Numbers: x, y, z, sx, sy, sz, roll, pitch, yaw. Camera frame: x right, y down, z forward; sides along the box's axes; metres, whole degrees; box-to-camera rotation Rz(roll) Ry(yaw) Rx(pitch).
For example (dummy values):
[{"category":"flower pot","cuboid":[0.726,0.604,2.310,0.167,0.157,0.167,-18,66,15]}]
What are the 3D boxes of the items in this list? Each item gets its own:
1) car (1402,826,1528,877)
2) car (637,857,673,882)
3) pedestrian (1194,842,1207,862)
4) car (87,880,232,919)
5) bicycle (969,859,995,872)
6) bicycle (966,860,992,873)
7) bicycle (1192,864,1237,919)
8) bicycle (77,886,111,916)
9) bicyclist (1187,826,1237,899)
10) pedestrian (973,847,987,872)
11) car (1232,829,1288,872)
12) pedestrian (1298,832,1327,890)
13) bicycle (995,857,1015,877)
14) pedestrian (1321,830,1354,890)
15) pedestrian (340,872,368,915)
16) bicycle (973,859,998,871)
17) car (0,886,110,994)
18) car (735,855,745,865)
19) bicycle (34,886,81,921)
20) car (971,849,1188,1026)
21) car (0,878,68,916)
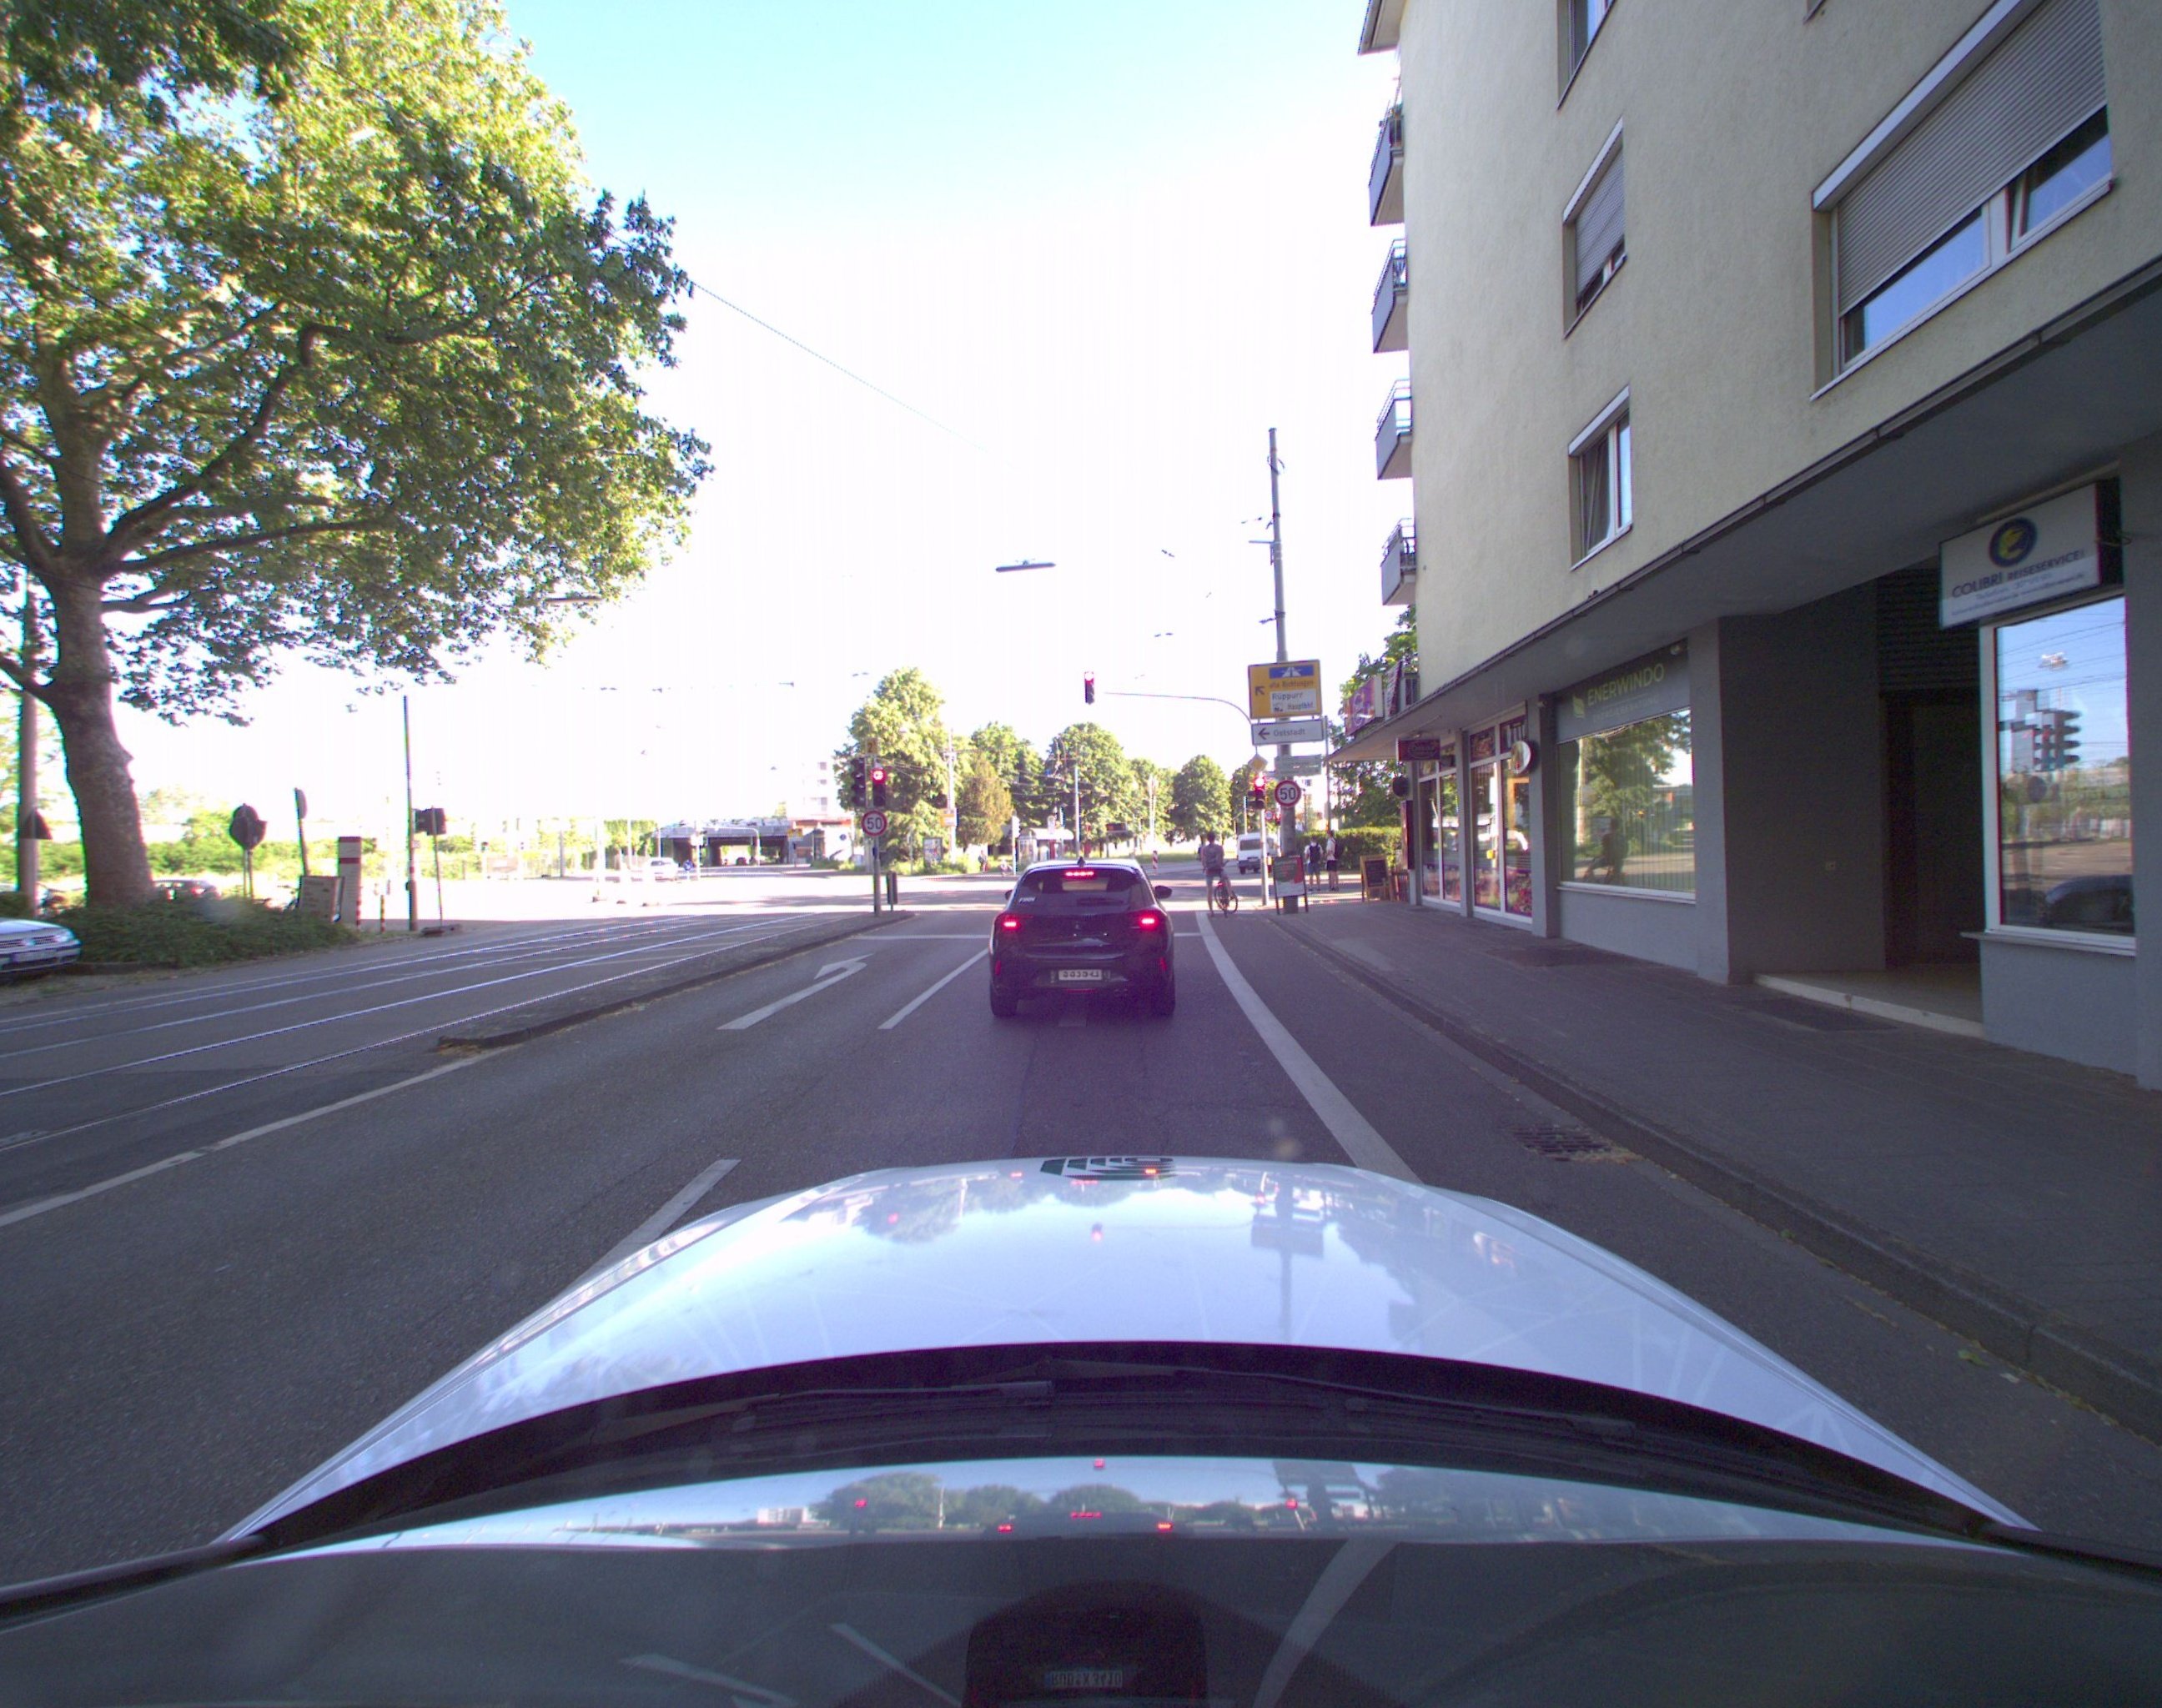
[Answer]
[{"category":"car","cuboid":[15.090,-0.063,32.222,4.150,1.814,1.811,-2,-3,10]},{"category":"car","cuboid":[-29.605,1.035,56.500,2.006,1.631,4.586,-2,1,-30]},{"category":"pedestrian","cuboid":[11.346,-0.183,77.408,0.949,1.793,1.002,-2,0,27]},{"category":"car","cuboid":[-43.229,2.097,38.326,4.006,1.419,1.880,-1,6,-25]},{"category":"bicycle","cuboid":[-7.928,0.923,65.179,1.866,0.906,0.661,-2,0,8]},{"category":"bicycle","cuboid":[-8.054,0.976,64.196,1.866,0.906,0.661,-2,0,8]},{"category":"bicycle","cuboid":[2.893,0.784,17.803,0.665,1.059,2.083,-2,0,2]},{"category":"bicycle","cuboid":[-26.394,1.239,21.771,1.757,0.759,0.360,-1,0,32]},{"category":"bicyclist","cuboid":[2.841,0.183,17.805,0.837,1.510,1.368,-2,0,0]},{"category":"pedestrian","cuboid":[-6.836,0.374,55.098,0.703,1.693,0.721,-2,0,-30]},{"category":"car","cuboid":[10.139,-0.176,45.943,2.070,2.277,4.331,-1,-1,26]},{"category":"pedestrian","cuboid":[7.242,0.216,25.462,0.696,1.792,0.617,-2,0,1]},{"category":"bicycle","cuboid":[-4.368,0.749,46.889,0.821,1.059,1.885,-2,0,4]},{"category":"pedestrian","cuboid":[8.018,0.183,25.469,0.696,1.846,0.705,-2,0,41]},{"category":"pedestrian","cuboid":[-27.741,1.496,31.072,0.602,1.596,0.679,0,-1,-24]},{"category":"bicycle","cuboid":[-7.751,0.928,66.046,1.866,0.906,0.661,-2,0,8]},{"category":"car","cuboid":[-16.676,1.203,11.335,3.980,1.417,1.701,0,-1,-5]},{"category":"car","cuboid":[-72.297,1.213,172.636,2.003,2.014,3.967,0,-1,-25]},{"category":"bicycle","cuboid":[-25.054,1.198,19.953,0.360,0.759,1.759,-2,0,-40]},{"category":"car","cuboid":[0.100,0.694,8.828,1.793,1.441,3.943,-2,0,3]},{"category":"car","cuboid":[-48.403,1.931,36.015,4.006,1.419,1.880,-1,6,-25]}]
